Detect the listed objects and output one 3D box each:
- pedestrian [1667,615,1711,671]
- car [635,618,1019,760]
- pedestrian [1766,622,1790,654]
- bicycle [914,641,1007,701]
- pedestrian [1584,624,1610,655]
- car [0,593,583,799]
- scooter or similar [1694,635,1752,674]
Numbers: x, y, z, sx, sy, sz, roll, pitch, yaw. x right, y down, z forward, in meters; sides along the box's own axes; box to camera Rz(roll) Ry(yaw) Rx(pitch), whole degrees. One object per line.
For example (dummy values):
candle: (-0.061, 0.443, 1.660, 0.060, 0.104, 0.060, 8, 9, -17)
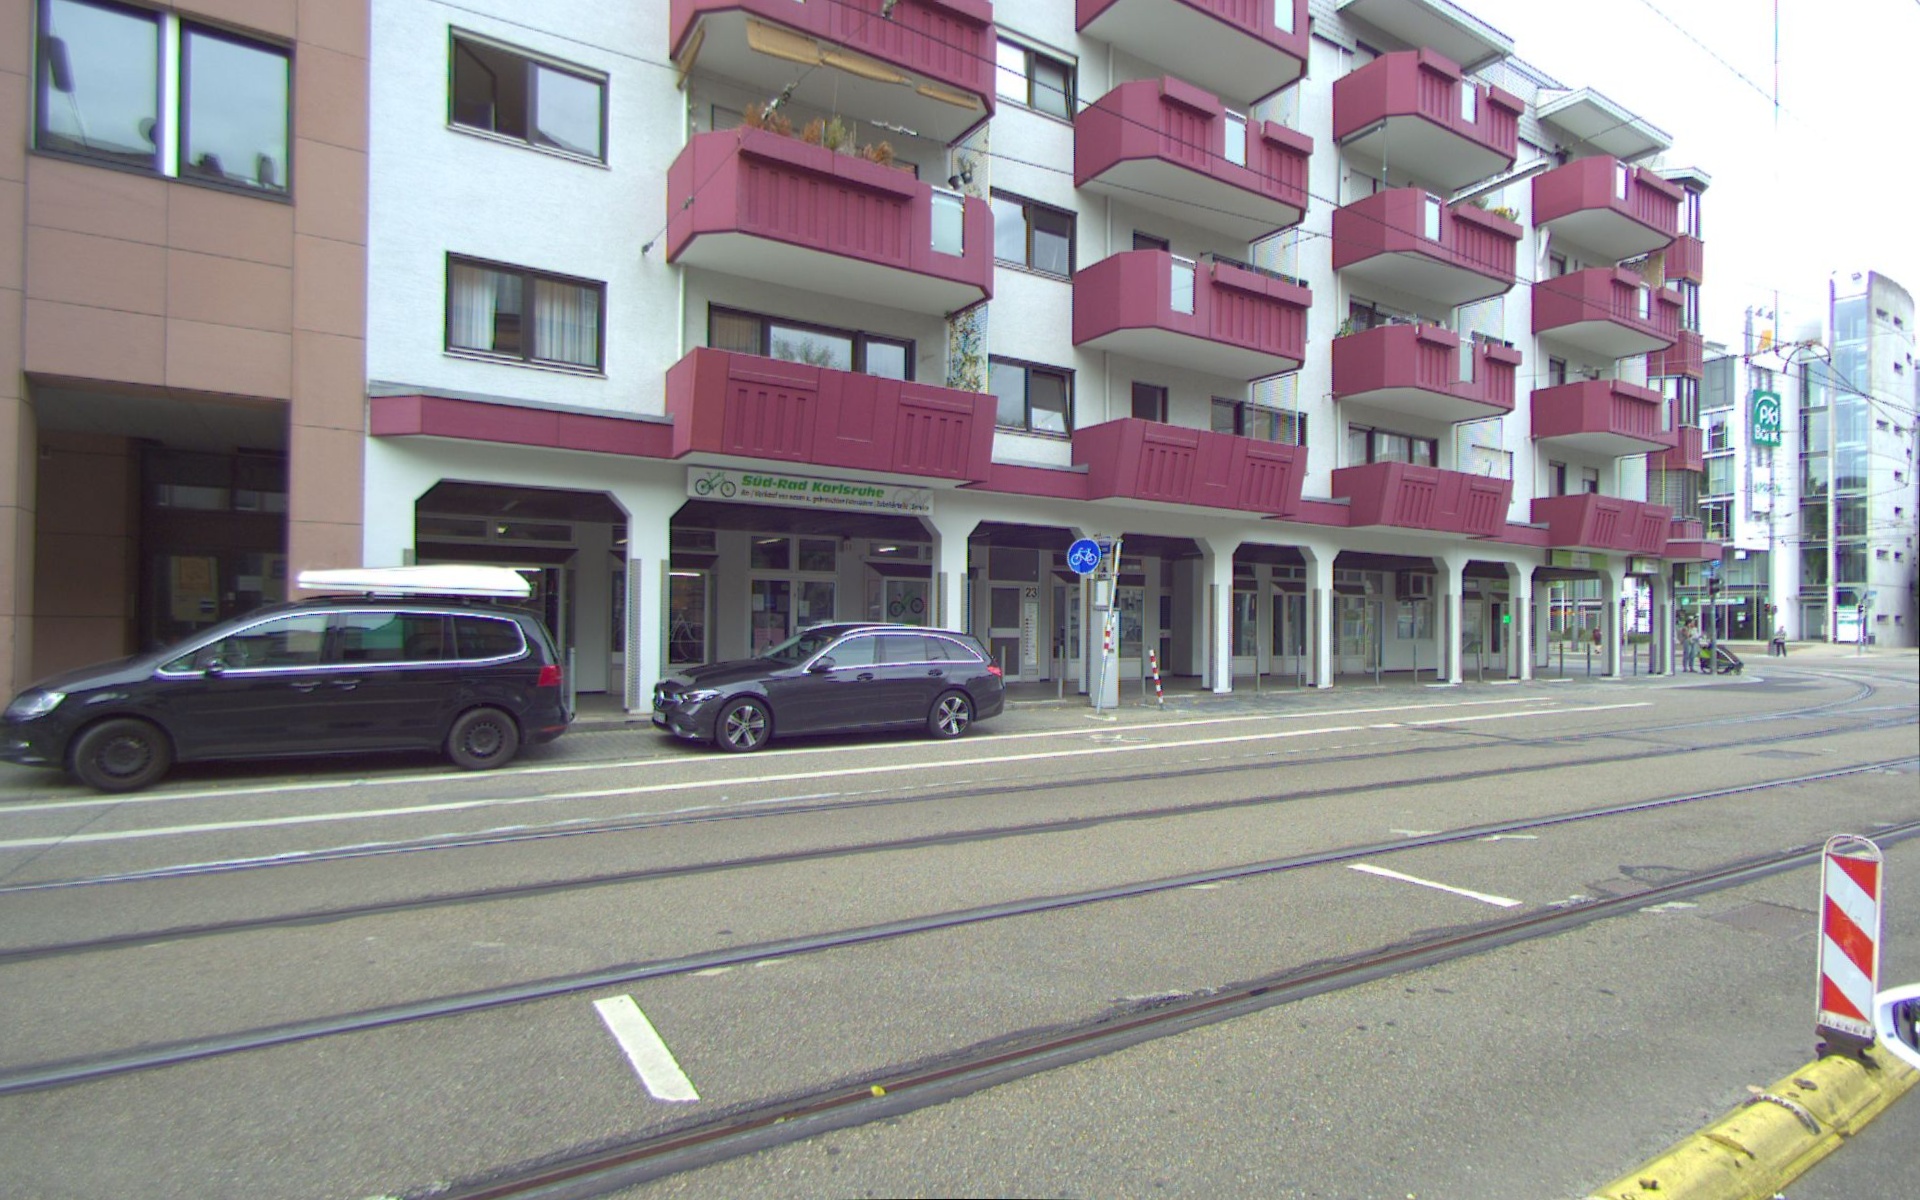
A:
pedestrian: (23.406, 1.356, 32.261, 0.803, 1.766, 0.942, 1, -1, -33)
car: (-1.643, 1.035, 13.055, 4.645, 1.500, 1.745, 1, 1, -32)
pedestrian: (49.512, 2.297, 60.776, 0.754, 1.889, 0.833, 1, -1, -17)
bicycle: (0.022, 1.200, 17.343, 1.636, 0.966, 0.560, 1, -1, -39)
pedestrian: (35.386, 2.168, 55.804, 0.753, 1.693, 0.935, 1, -1, -17)
car: (-6.465, 0.824, 10.243, 4.645, 1.669, 1.797, 1, 1, -32)
scooter or similar: (23.914, 1.694, 31.486, 0.936, 1.143, 1.189, 1, 0, -32)
